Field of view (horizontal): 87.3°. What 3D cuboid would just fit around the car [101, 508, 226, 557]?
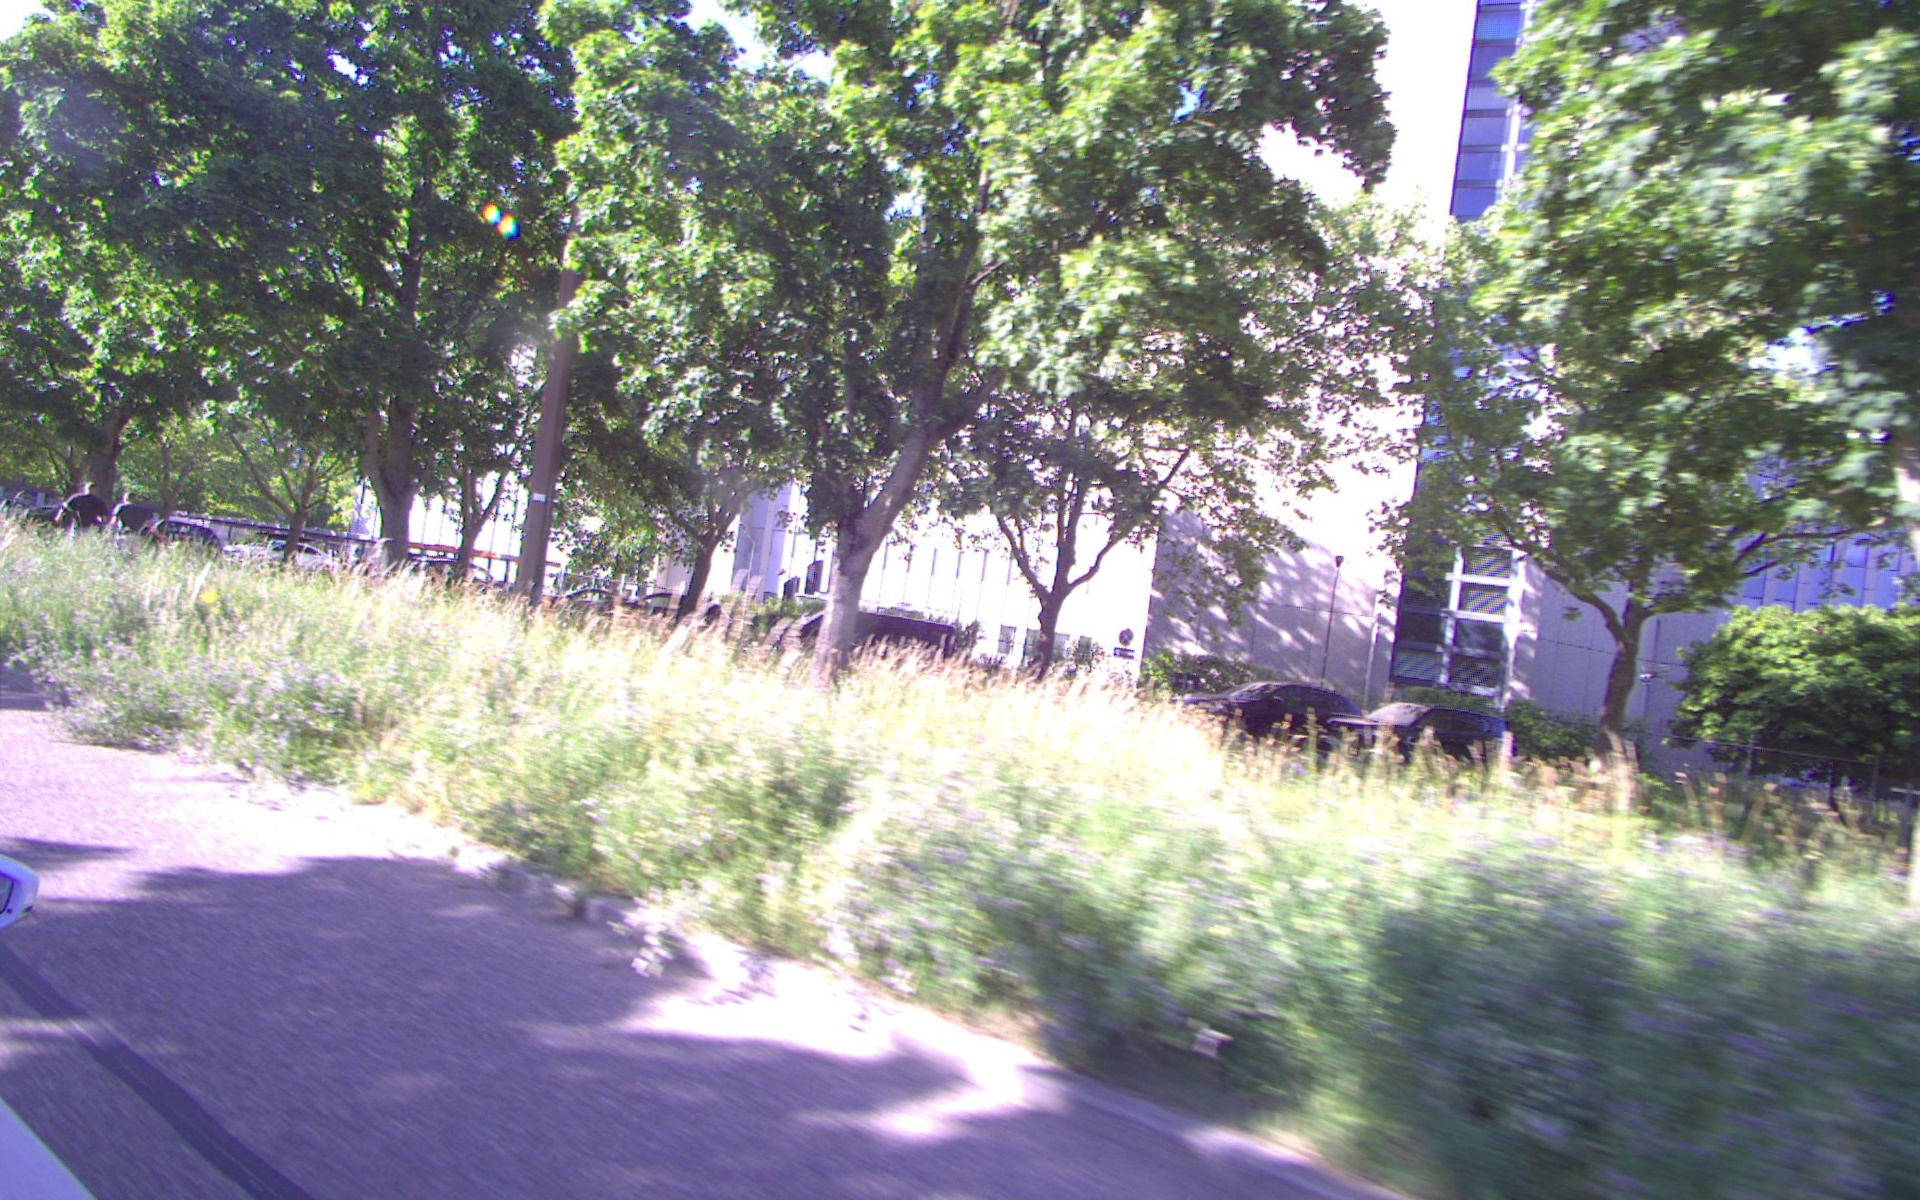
[{"bbox_3d":[-39.648,-3.317,50.181,1.851,1.615,4.405,7,-2,27],"label":"car"}]

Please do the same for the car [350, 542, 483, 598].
[{"bbox_3d":[-20.563,-1.103,38.276,1.733,1.554,4.246,7,-1,21],"label":"car"}]

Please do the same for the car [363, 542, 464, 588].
[{"bbox_3d":[-32.042,-2.027,59.115,1.940,1.972,4.760,8,-1,30],"label":"car"}]

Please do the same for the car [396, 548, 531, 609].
[{"bbox_3d":[-18.435,-0.755,37.574,1.733,1.720,4.350,7,-1,21],"label":"car"}]

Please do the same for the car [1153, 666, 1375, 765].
[{"bbox_3d":[6.767,2.564,22.357,4.493,1.532,1.838,9,-2,-24],"label":"car"}]

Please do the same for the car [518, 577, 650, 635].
[{"bbox_3d":[-12.632,0.216,33.894,3.936,1.356,1.701,9,-2,-22],"label":"car"}]

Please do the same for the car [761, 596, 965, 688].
[{"bbox_3d":[-2.752,1.180,28.200,5.369,1.771,1.916,9,-2,-12],"label":"car"}]

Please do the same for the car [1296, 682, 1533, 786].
[{"bbox_3d":[9.400,2.774,20.781,4.493,1.464,1.838,9,-2,-24],"label":"car"}]

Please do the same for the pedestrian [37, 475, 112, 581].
[{"bbox_3d":[-17.465,-1.417,19.852,0.803,1.939,0.709,7,-2,32],"label":"pedestrian"}]

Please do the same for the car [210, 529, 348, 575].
[{"bbox_3d":[-30.003,-2.083,44.490,1.776,1.286,4.710,8,-1,28],"label":"car"}]

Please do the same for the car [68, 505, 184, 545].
[{"bbox_3d":[-43.904,-3.930,53.058,1.909,1.340,4.297,8,-1,35],"label":"car"}]

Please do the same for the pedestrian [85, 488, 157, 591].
[{"bbox_3d":[-17.114,-1.229,20.533,0.803,1.952,0.709,7,-2,32],"label":"pedestrian"}]

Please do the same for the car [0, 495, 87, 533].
[{"bbox_3d":[-53.693,-5.015,58.389,1.795,1.447,4.173,7,-3,33],"label":"car"}]

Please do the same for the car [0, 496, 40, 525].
[{"bbox_3d":[-59.756,-5.778,61.830,1.661,1.475,4.364,7,-2,33],"label":"car"}]

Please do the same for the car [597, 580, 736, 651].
[{"bbox_3d":[-9.364,0.488,32.098,3.936,1.657,1.715,9,-2,-23],"label":"car"}]
